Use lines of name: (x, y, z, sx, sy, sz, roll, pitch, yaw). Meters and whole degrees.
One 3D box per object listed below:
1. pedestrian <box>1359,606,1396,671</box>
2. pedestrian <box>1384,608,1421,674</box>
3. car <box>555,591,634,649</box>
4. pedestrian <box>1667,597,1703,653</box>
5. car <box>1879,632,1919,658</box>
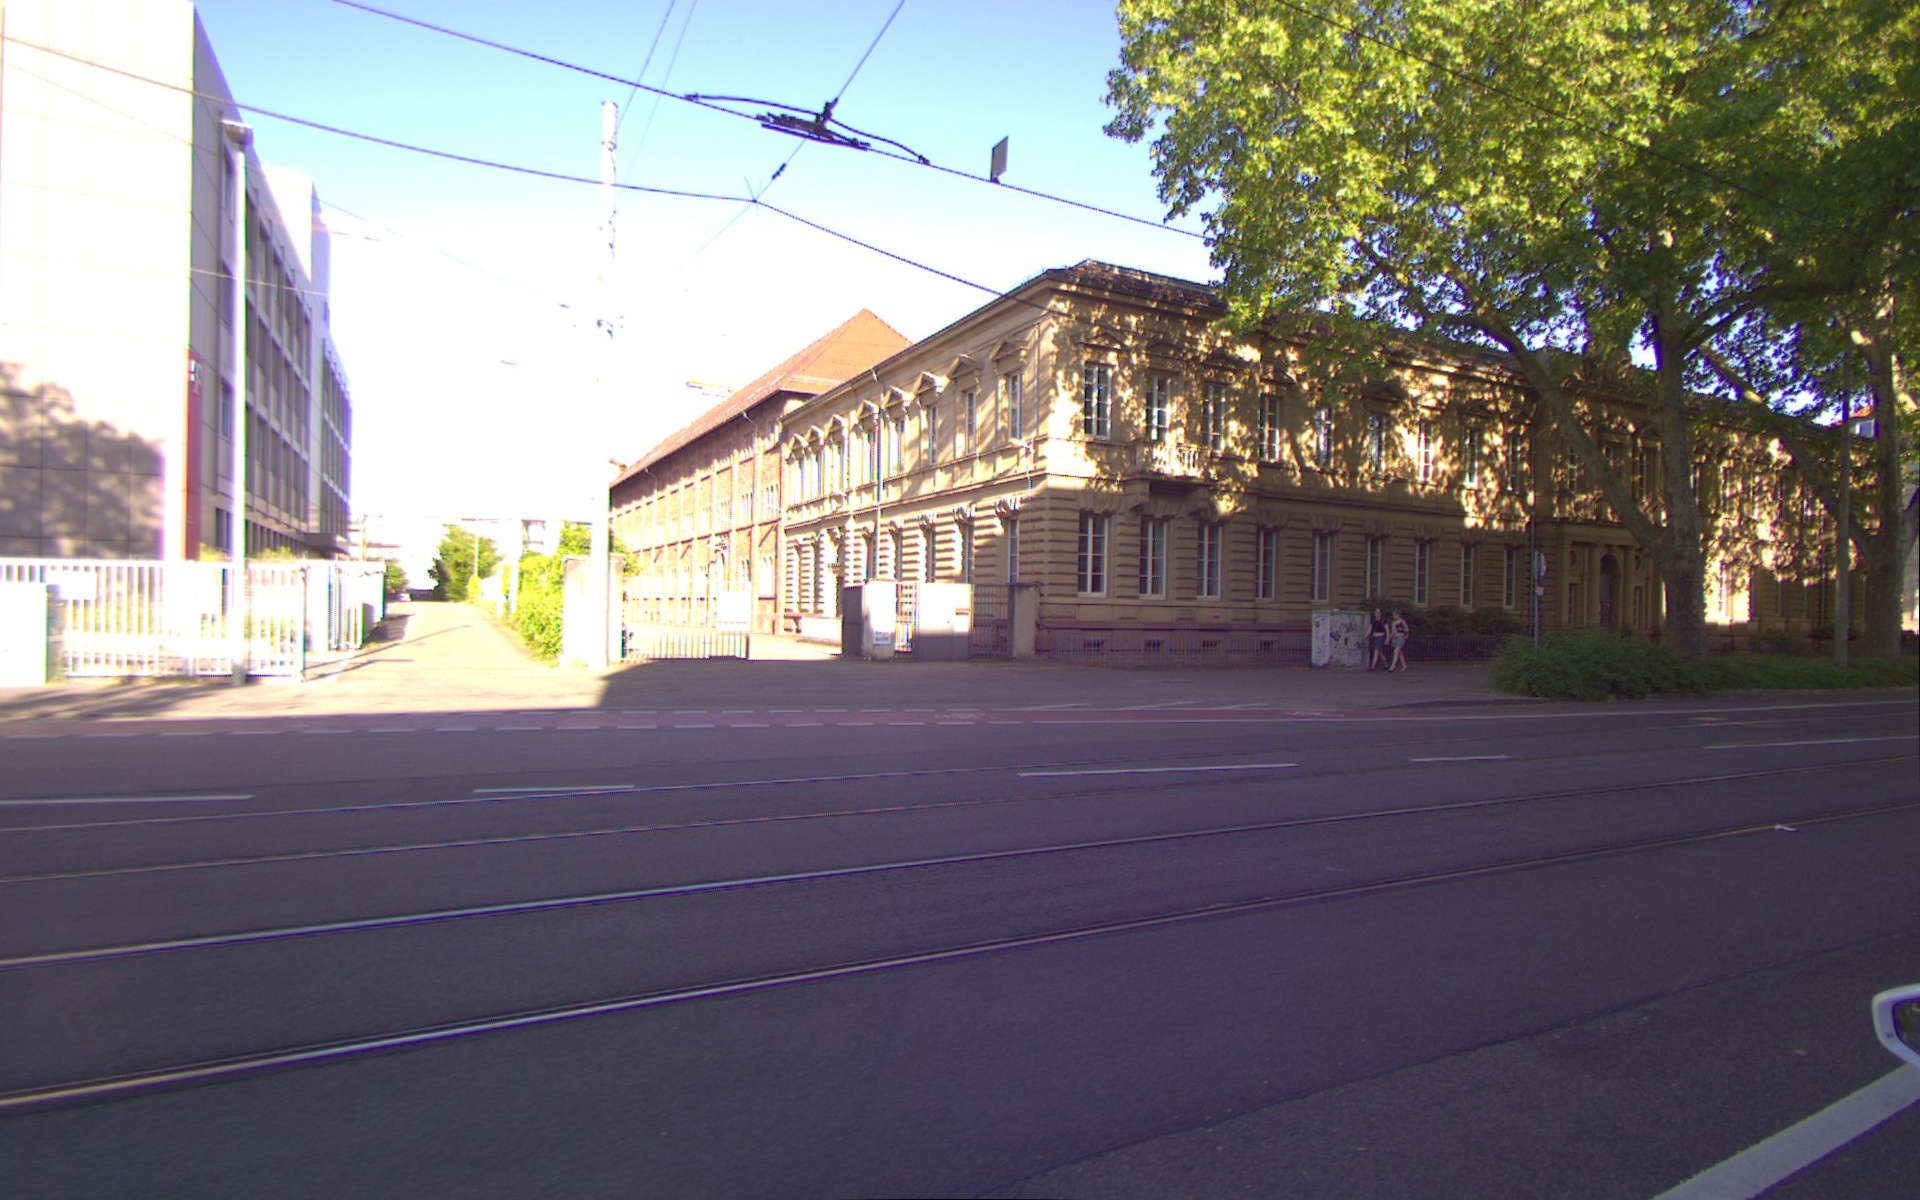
pedestrian: (11.353, 1.040, 27.320, 0.655, 1.720, 0.666, 1, 0, -35)
pedestrian: (11.808, 1.095, 26.819, 0.650, 1.720, 0.629, 1, 0, -35)
car: (-12.077, 0.618, 33.027, 1.831, 1.742, 4.249, 2, 0, -28)
pedestrian: (24.981, 0.856, 34.612, 0.828, 1.874, 0.715, 2, 0, -30)
car: (55.330, 2.586, 57.440, 1.672, 1.437, 3.762, -2, 0, -27)
